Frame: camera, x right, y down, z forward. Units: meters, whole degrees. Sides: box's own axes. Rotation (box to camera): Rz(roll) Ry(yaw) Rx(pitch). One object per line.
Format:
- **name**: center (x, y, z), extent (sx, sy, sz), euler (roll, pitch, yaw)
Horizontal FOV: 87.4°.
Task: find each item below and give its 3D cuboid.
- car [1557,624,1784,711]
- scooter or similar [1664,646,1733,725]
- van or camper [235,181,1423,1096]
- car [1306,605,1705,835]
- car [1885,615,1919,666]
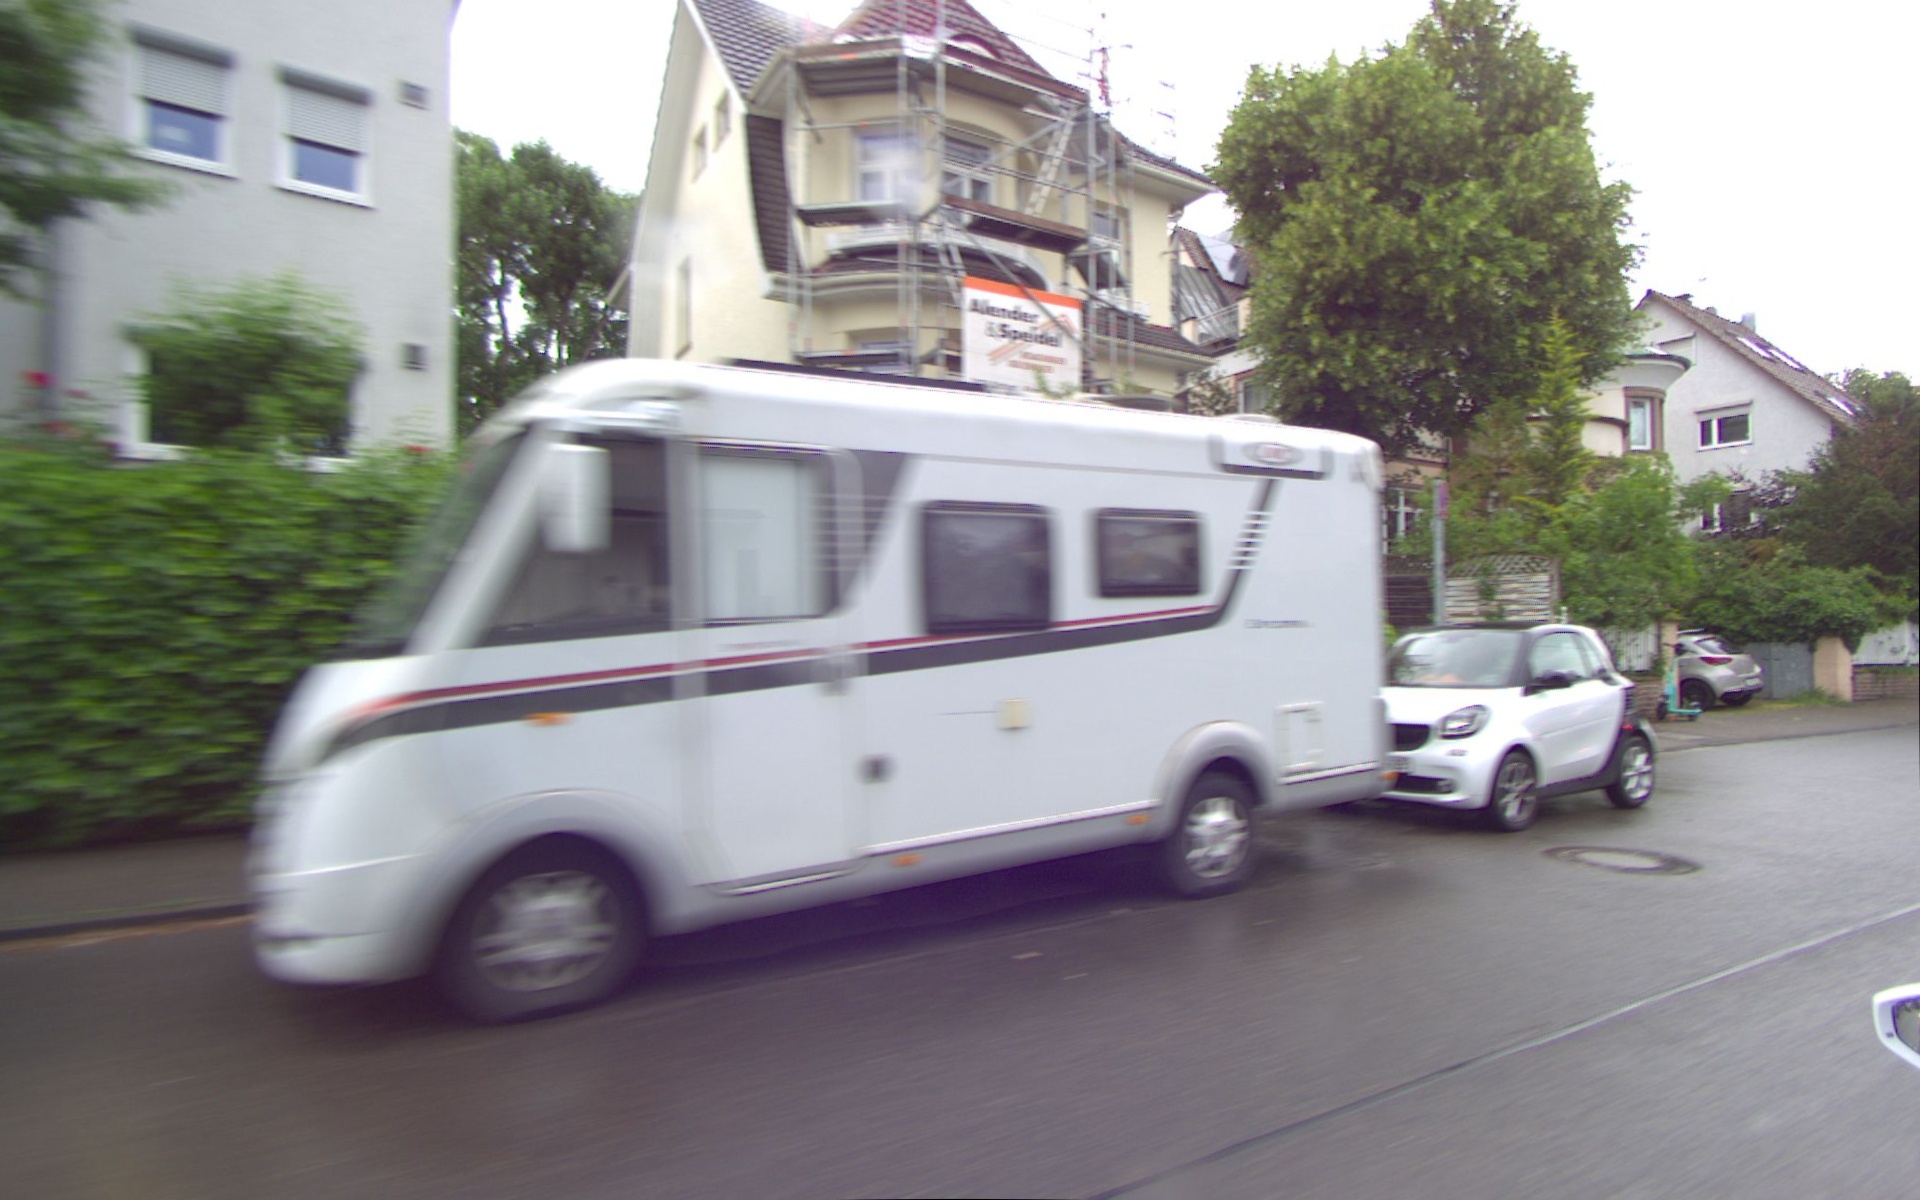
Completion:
- **car**: center (14.644, 1.367, 20.949), extent (1.680, 1.561, 3.584), euler (-3, -2, -13)
- **scooter or similar**: center (11.752, 1.340, 15.989), extent (1.125, 1.204, 0.400), euler (1, -1, -25)
- **van or camper**: center (-0.244, 0.196, 5.675), extent (6.051, 2.761, 2.335), euler (1, -2, -33)
- **car**: center (4.713, 0.904, 8.621), extent (3.280, 1.615, 1.587), euler (1, -2, -32)
- **car**: center (31.567, 1.258, 30.775), extent (4.588, 1.515, 1.804), euler (0, 0, 6)
